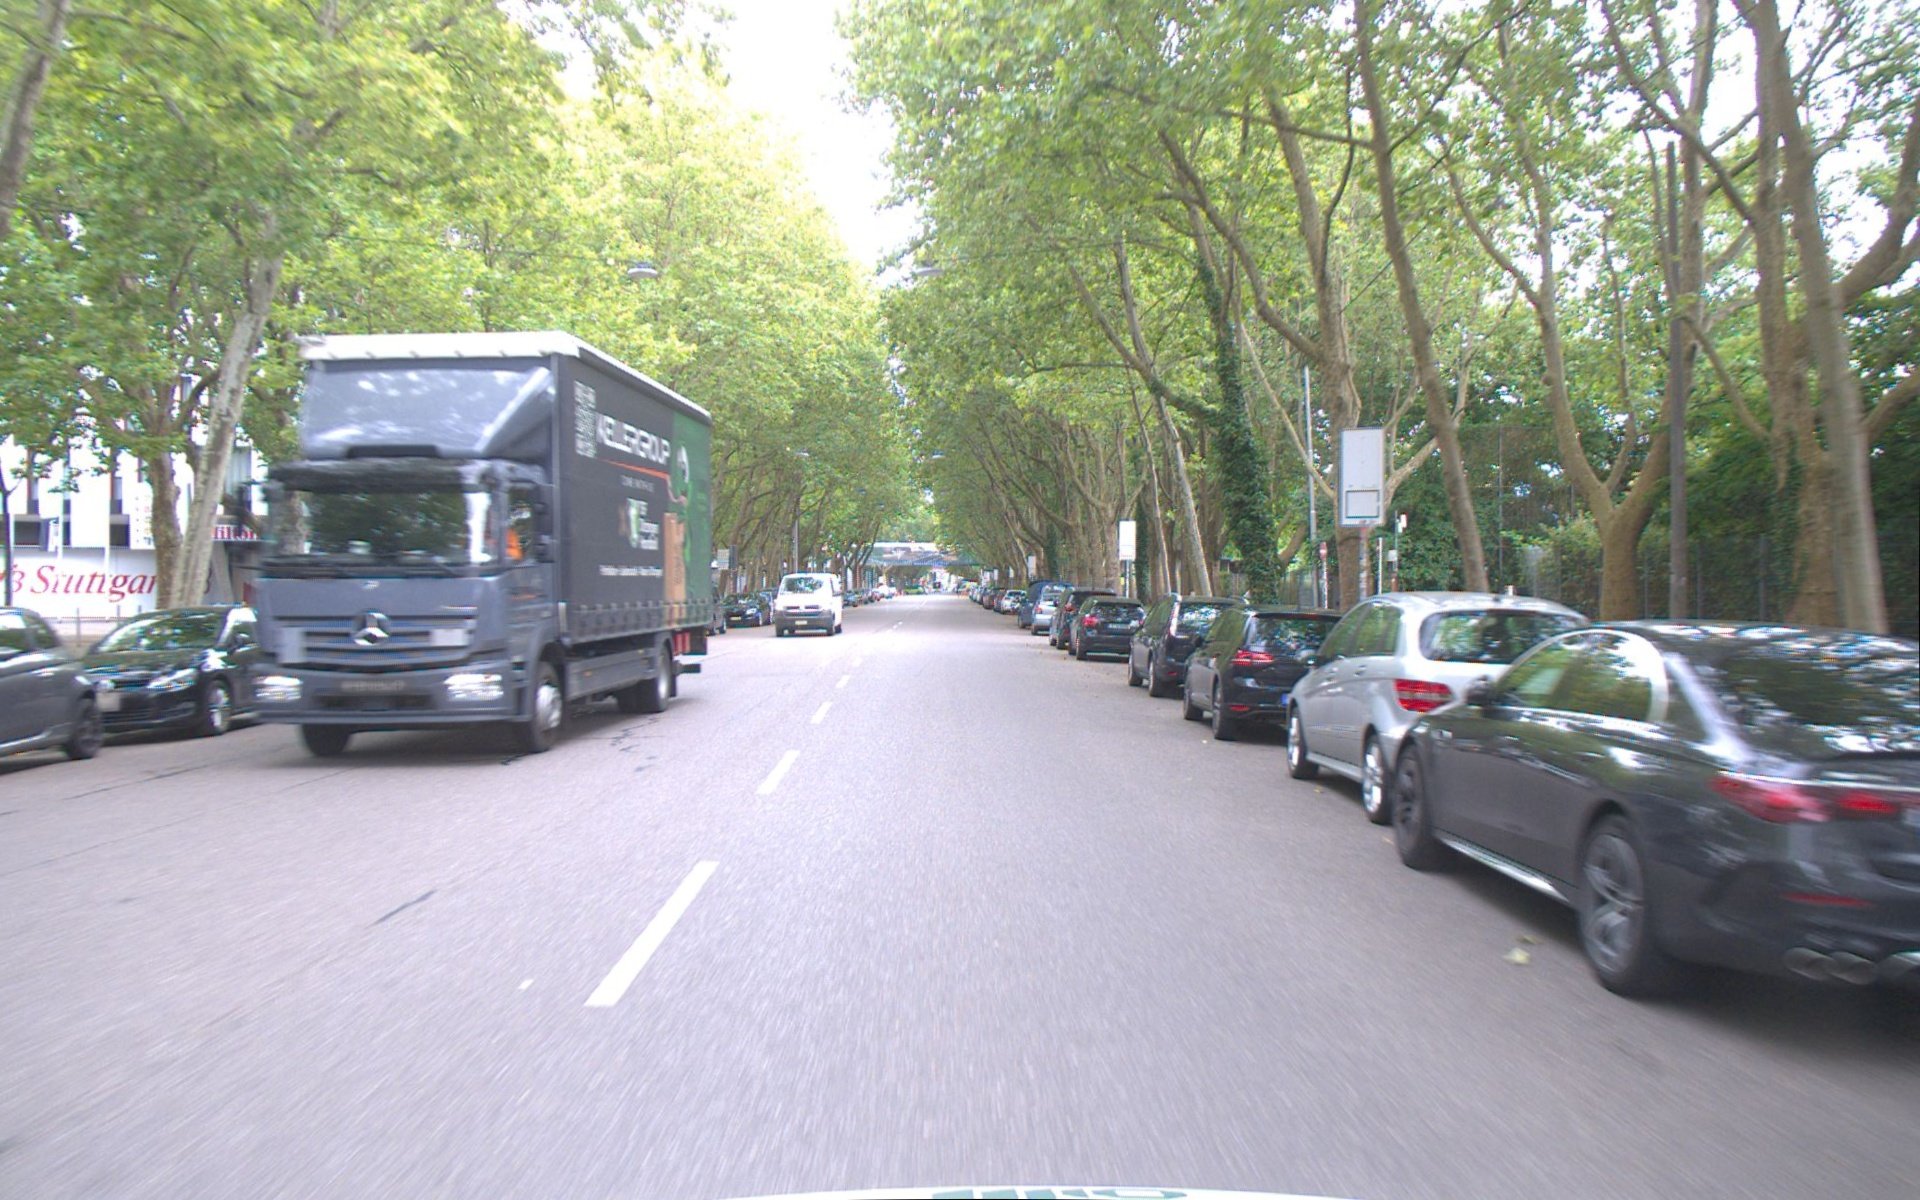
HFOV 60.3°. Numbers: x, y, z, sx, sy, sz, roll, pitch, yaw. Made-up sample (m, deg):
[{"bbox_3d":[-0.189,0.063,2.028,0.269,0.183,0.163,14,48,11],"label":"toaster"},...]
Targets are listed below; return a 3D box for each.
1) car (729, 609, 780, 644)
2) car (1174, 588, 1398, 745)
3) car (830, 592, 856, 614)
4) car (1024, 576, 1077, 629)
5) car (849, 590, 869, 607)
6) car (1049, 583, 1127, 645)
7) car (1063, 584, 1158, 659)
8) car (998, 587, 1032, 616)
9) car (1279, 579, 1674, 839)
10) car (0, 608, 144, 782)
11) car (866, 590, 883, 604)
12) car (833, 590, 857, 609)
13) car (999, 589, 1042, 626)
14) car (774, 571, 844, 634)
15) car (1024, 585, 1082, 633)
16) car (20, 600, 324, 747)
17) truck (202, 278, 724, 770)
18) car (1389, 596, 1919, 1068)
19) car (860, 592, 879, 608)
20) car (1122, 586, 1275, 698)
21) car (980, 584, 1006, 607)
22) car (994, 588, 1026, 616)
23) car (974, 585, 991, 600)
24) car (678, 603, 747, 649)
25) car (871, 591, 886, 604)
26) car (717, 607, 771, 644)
[{"bbox_3d":[-9.134,1.177,73.739,1.857,1.463,3.998,-1,-1,-2],"label":"car"},{"bbox_3d":[3.635,0.681,19.108,1.720,1.561,3.928,2,0,-1],"label":"car"},{"bbox_3d":[-8.773,0.191,124.148,1.720,1.561,3.928,2,0,-1],"label":"car"},{"bbox_3d":[3.522,0.062,65.008,1.720,1.847,3.929,-4,1,-1],"label":"car"},{"bbox_3d":[-9.741,-0.189,159.787,1.720,1.561,3.928,2,0,-1],"label":"car"},{"bbox_3d":[3.375,0.335,44.094,1.720,1.561,3.928,0,1,-1],"label":"car"},{"bbox_3d":[3.417,0.469,38.106,1.720,1.561,3.928,2,0,-1],"label":"car"},{"bbox_3d":[3.097,0.096,94.084,1.720,1.561,3.928,-2,0,-1],"label":"car"},{"bbox_3d":[3.745,0.703,12.742,1.720,1.625,3.928,2,0,-1],"label":"car"},{"bbox_3d":[-8.943,0.849,14.627,1.731,1.443,3.758,-3,-1,-4],"label":"car"},{"bbox_3d":[-9.616,-0.334,187.191,1.720,1.561,3.928,2,0,-1],"label":"car"},{"bbox_3d":[-9.778,-0.035,140.928,1.720,1.561,3.928,2,0,-1],"label":"car"},{"bbox_3d":[2.706,0.318,74.964,1.720,1.561,3.928,2,0,-1],"label":"car"},{"bbox_3d":[-4.853,0.062,53.493,1.940,1.967,4.112,0,0,-1],"label":"car"},{"bbox_3d":[3.230,0.312,57.967,1.720,1.561,3.928,2,0,-1],"label":"car"},{"bbox_3d":[-9.000,0.791,19.251,1.730,1.443,3.760,-3,-1,-1],"label":"car"},{"bbox_3d":[-4.760,-0.639,18.332,2.586,3.970,9.542,-1,0,2],"label":"truck"},{"bbox_3d":[3.491,0.799,7.671,1.720,1.515,4.416,4,0,-1],"label":"car"},{"bbox_3d":[-9.324,0.014,170.123,1.720,1.561,3.928,2,0,-1],"label":"car"},{"bbox_3d":[3.641,0.604,25.890,1.720,1.561,3.928,2,0,-1],"label":"car"},{"bbox_3d":[2.371,-0.317,121.113,1.720,1.561,3.928,2,0,-1],"label":"car"},{"bbox_3d":[3.005,0.111,99.494,1.720,1.561,3.928,-1,0,-1],"label":"car"},{"bbox_3d":[2.378,-0.773,177.077,1.720,1.561,3.928,2,0,-1],"label":"car"},{"bbox_3d":[-8.392,0.887,56.437,1.857,1.463,3.998,-1,-1,-2],"label":"car"},{"bbox_3d":[-10.801,-0.321,218.849,1.720,1.561,3.928,2,0,-1],"label":"car"},{"bbox_3d":[-9.049,1.089,69.580,1.857,1.463,3.998,-1,-1,-2],"label":"car"}]
